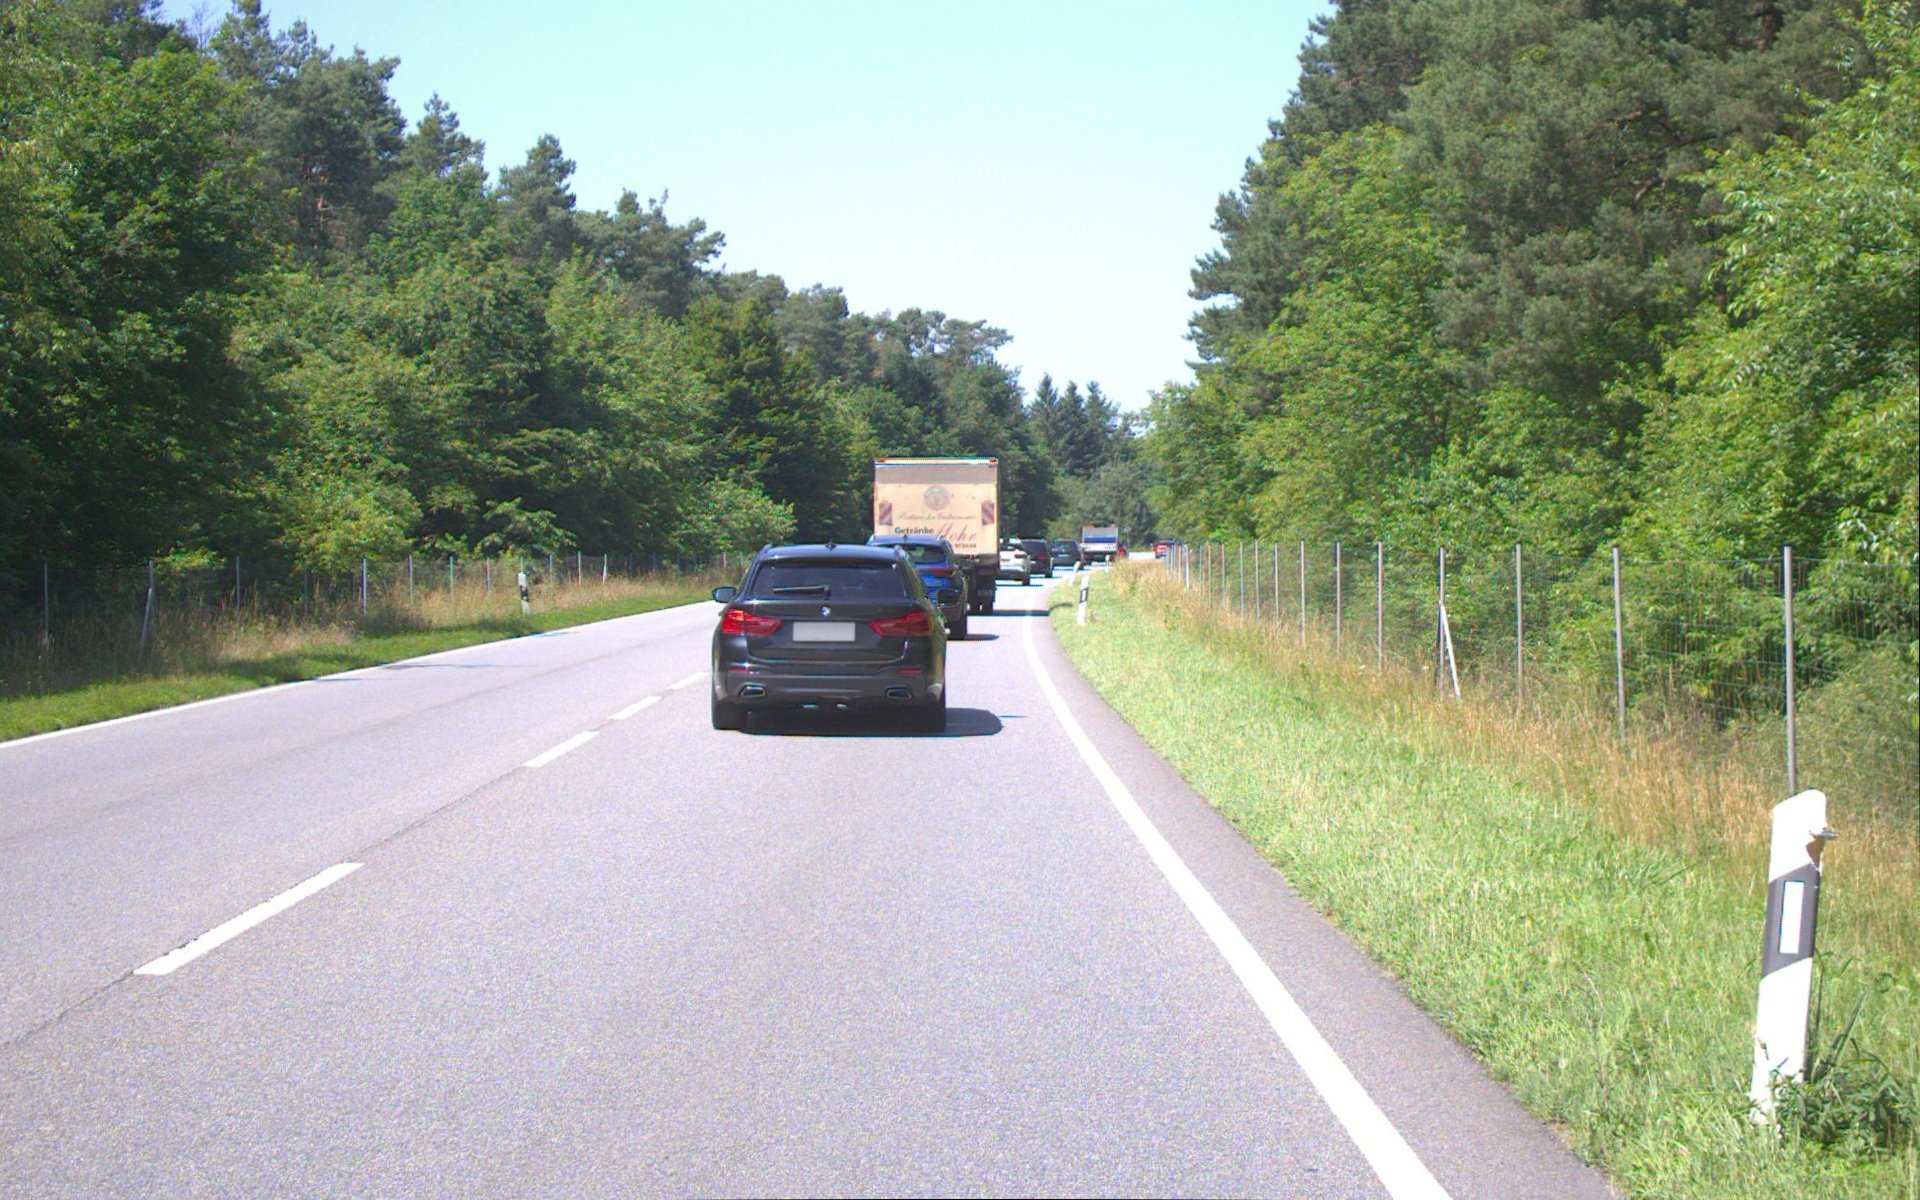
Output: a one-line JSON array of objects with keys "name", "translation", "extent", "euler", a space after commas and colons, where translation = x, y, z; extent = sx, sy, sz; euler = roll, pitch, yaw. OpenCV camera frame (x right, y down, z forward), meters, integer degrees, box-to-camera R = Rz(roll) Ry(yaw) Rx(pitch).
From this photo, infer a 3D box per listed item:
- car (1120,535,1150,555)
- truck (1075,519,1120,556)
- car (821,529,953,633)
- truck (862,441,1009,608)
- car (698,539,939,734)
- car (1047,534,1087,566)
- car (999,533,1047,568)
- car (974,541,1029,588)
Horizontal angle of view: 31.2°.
[{"name": "car", "translation": [12.131, -3.828, 238.157], "extent": [1.795, 1.349, 3.928], "euler": [0, 1, 7]}, {"name": "truck", "translation": [8.310, -3.786, 207.875], "extent": [2.564, 2.194, 4.973], "euler": [-1, 2, 4]}, {"name": "car", "translation": [-1.111, -0.322, 53.974], "extent": [1.947, 1.536, 4.000], "euler": [-1, 1, 0]}, {"name": "truck", "translation": [-0.574, -1.610, 73.098], "extent": [2.965, 3.376, 6.439], "euler": [0, 1, -1]}, {"name": "car", "translation": [-1.137, 0.242, 28.165], "extent": [1.820, 1.465, 4.001], "euler": [0, 1, -2]}, {"name": "car", "translation": [5.740, -2.689, 183.344], "extent": [1.994, 1.631, 4.000], "euler": [-1, 1, 4]}, {"name": "car", "translation": [2.681, -2.108, 146.715], "extent": [1.993, 1.415, 4.000], "euler": [1, 1, 0]}, {"name": "car", "translation": [1.445, -1.254, 120.126], "extent": [1.863, 1.600, 4.000], "euler": [0, 1, 0]}]
